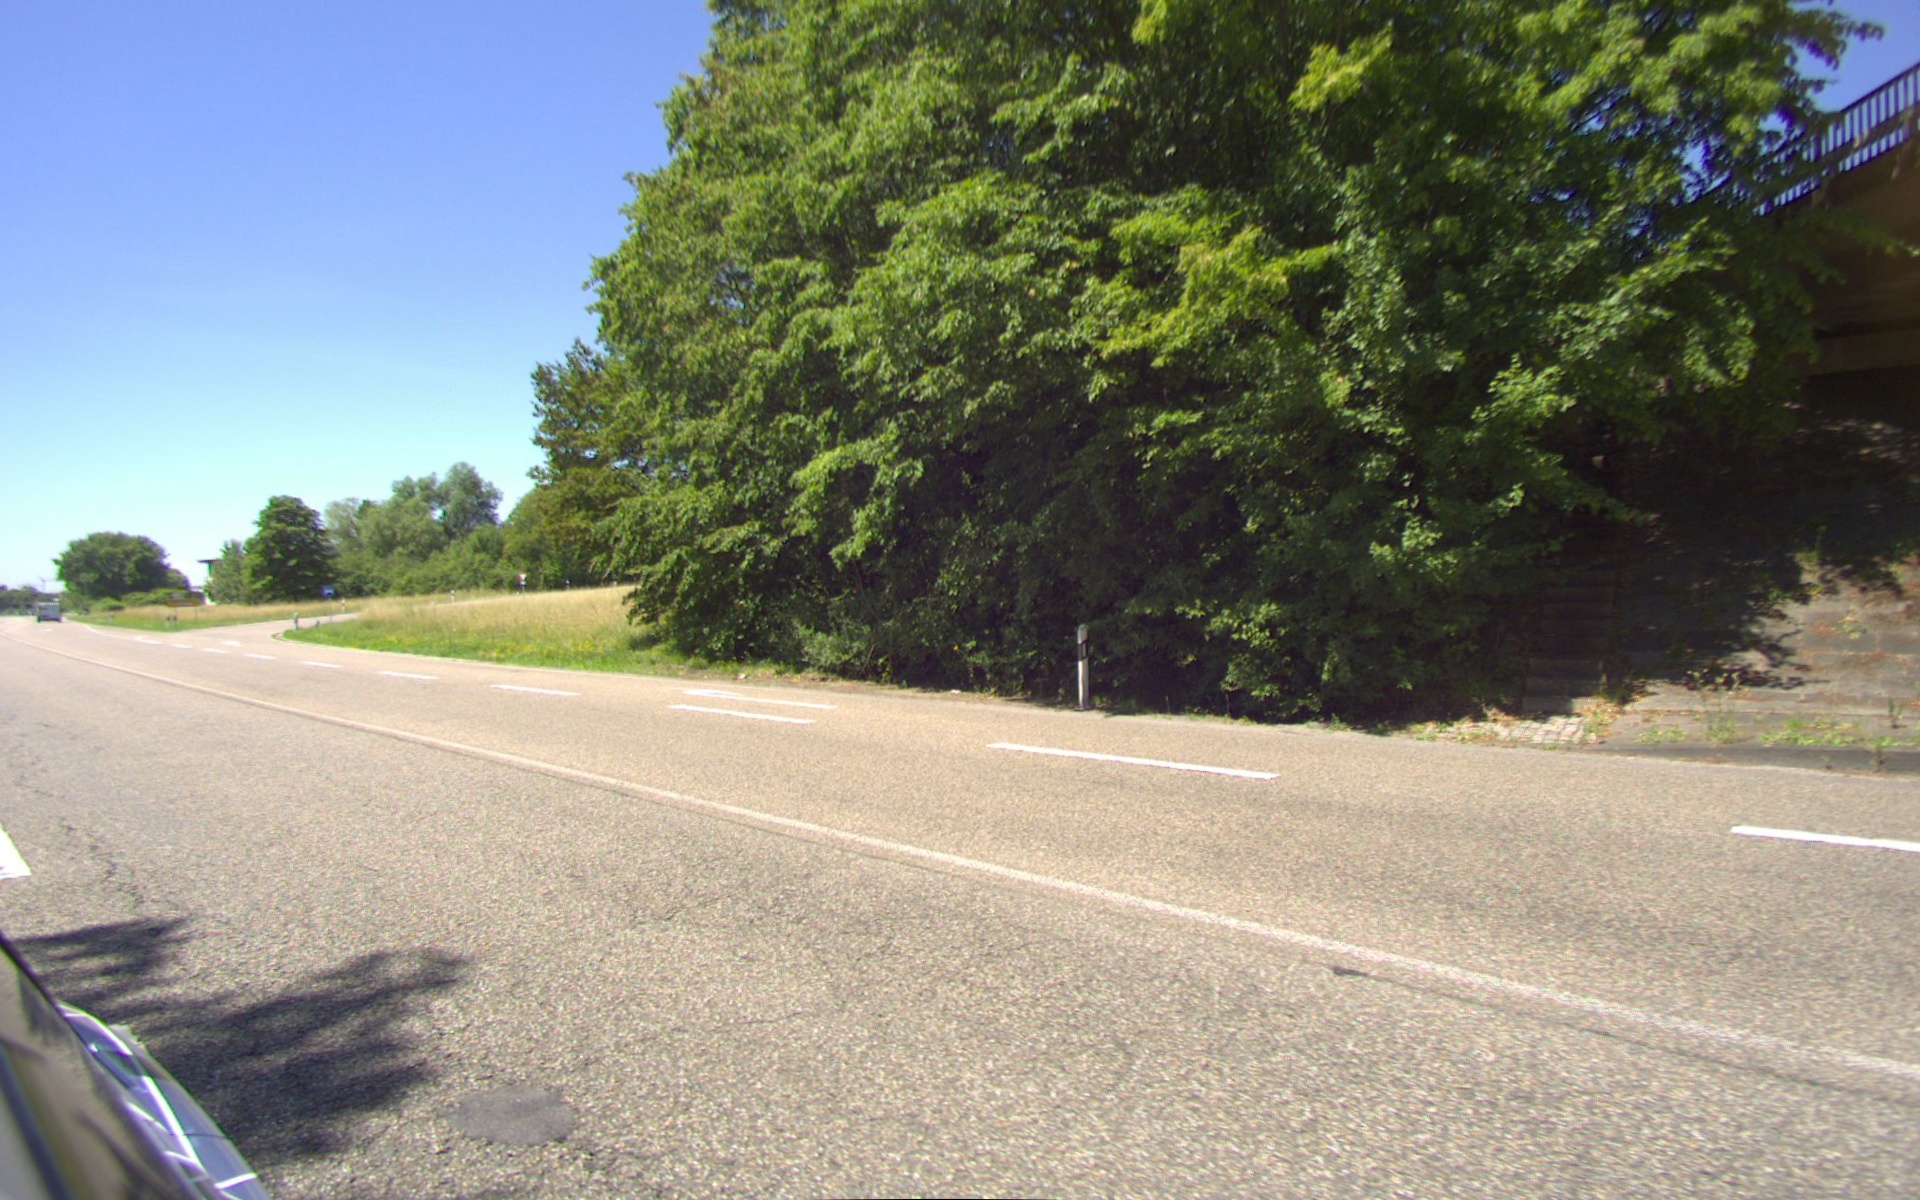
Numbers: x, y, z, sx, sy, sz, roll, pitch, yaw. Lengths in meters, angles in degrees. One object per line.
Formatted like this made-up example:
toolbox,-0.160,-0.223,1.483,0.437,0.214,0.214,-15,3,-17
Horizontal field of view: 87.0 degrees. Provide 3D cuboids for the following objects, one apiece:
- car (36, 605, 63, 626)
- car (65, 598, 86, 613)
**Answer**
car,-91.424,1.537,101.657,1.969,1.978,4.005,-1,0,-42
car,-120.517,0.797,137.861,1.820,2.029,4.002,-1,0,-45
